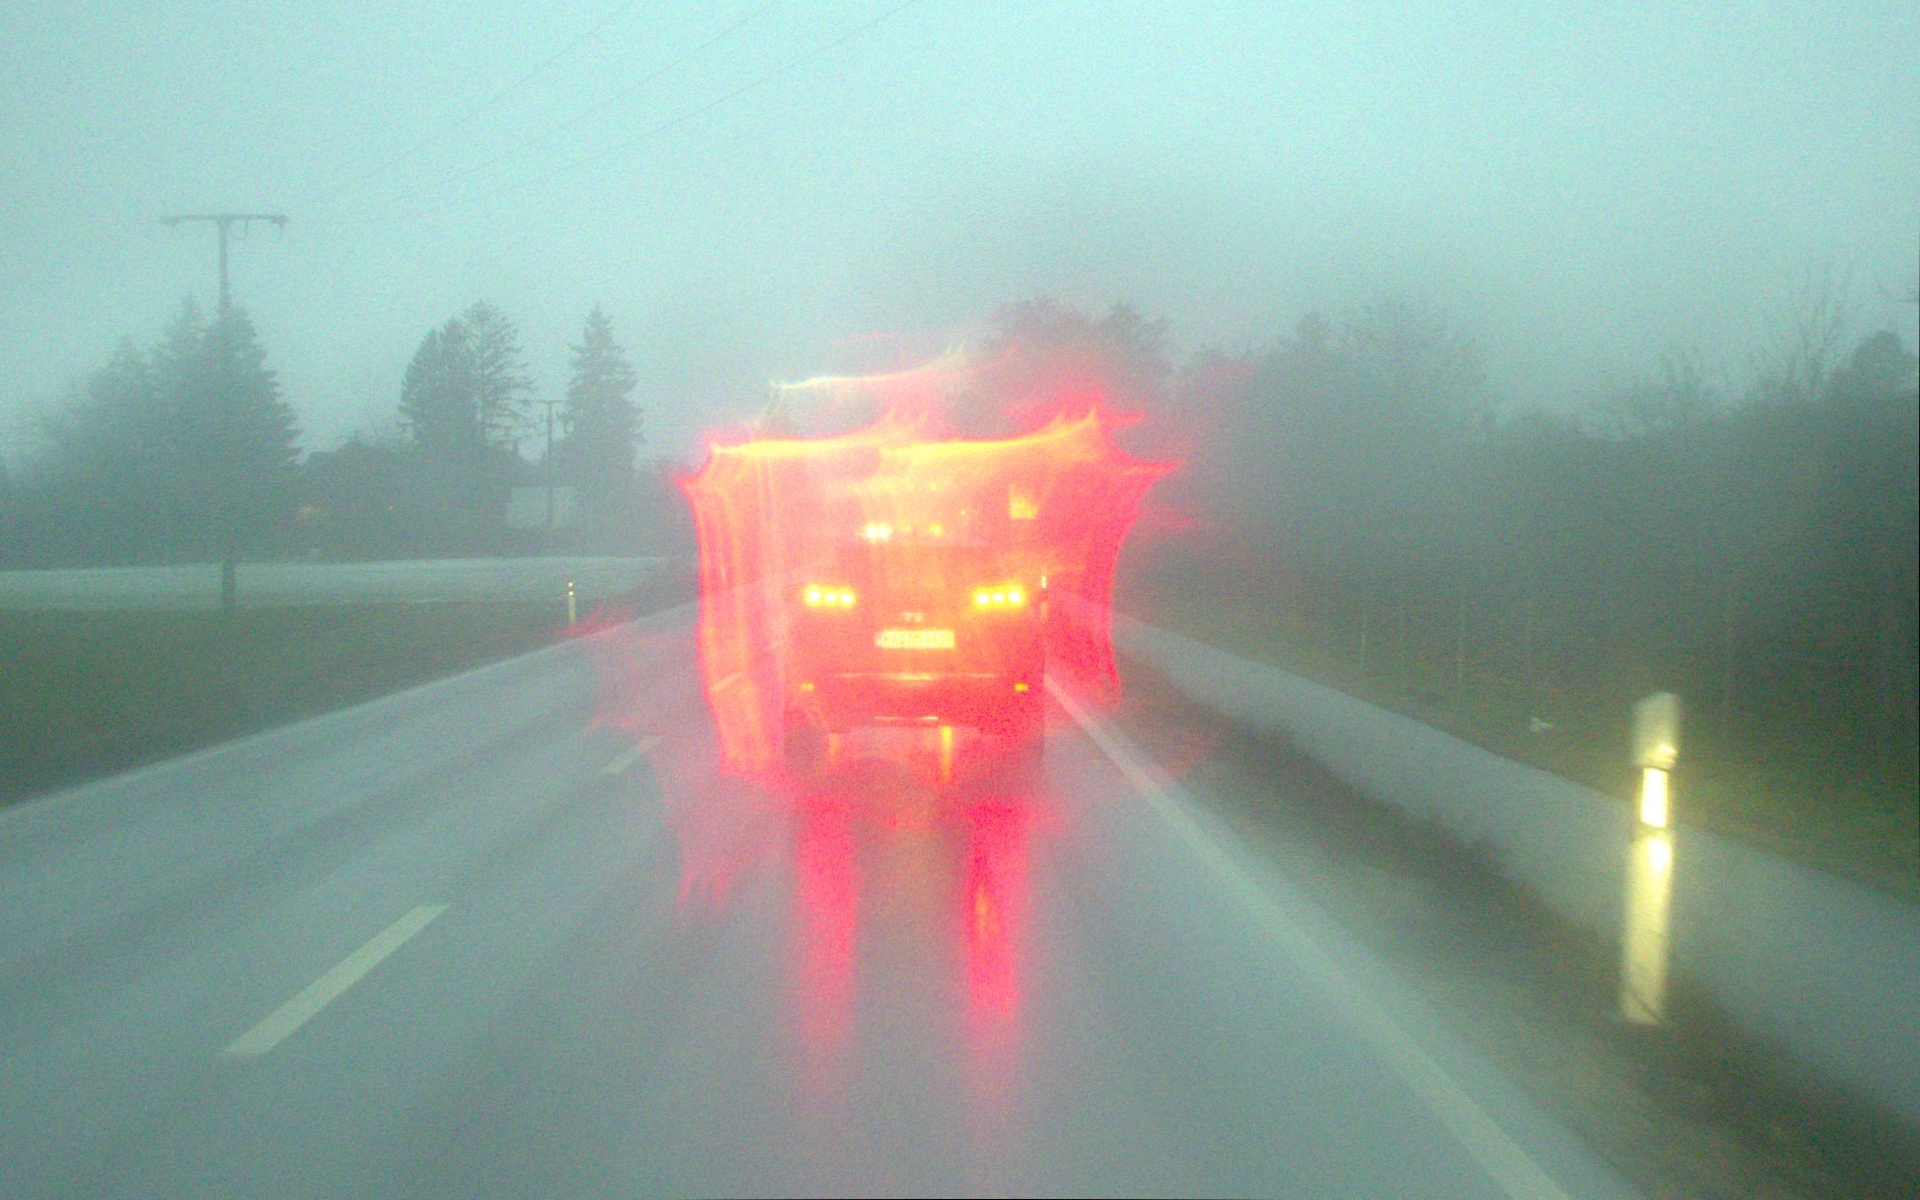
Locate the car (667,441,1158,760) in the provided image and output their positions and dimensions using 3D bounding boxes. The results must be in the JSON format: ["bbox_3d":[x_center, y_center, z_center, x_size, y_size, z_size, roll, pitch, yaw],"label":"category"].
[{"bbox_3d":[-0.313,-0.074,25.741,3.164,2.028,6.852,-1,1,0],"label":"car"}]

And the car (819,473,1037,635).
[{"bbox_3d":[-0.412,-0.659,47.178,2.756,2.028,6.591,-1,1,0],"label":"car"}]
